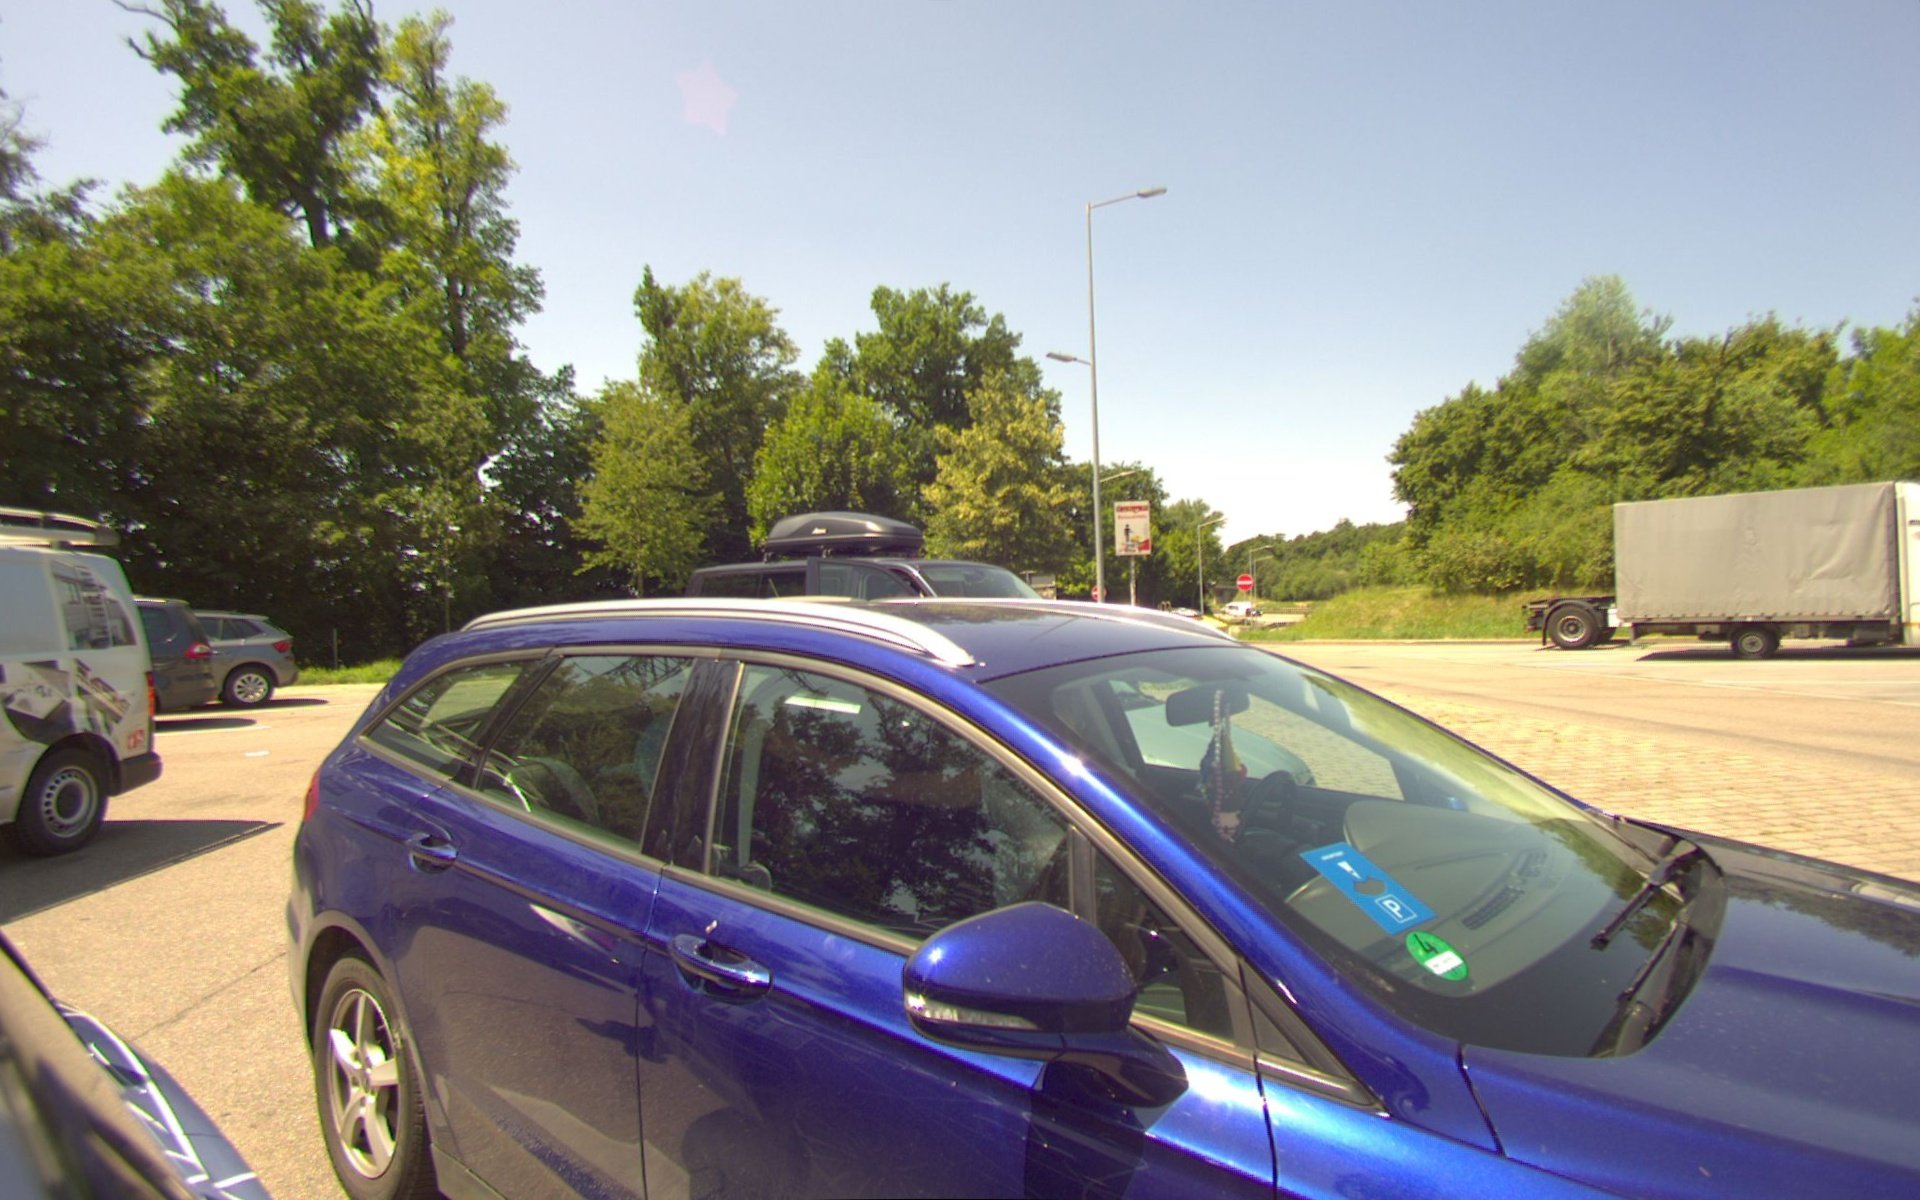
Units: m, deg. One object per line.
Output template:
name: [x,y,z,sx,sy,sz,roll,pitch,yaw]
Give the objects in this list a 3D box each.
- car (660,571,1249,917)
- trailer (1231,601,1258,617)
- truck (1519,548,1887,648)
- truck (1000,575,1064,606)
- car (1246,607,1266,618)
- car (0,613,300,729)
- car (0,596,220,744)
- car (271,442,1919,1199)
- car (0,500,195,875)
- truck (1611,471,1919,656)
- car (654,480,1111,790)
car: [-0.186,0.607,5.542,3.112,1.370,1.326,-2,-1,41]
trailer: [50.584,1.636,180.261,2.522,2.744,5.945,-1,0,-7]
truck: [16.910,0.059,23.465,6.613,2.029,1.973,-2,-1,41]
truck: [3.472,-0.445,48.796,2.866,1.386,1.158,-2,-1,22]
car: [51.225,2.143,175.312,1.855,1.691,4.006,-1,0,-7]
car: [-12.487,1.001,15.705,3.535,1.513,1.708,-1,0,-42]
car: [-11.613,0.833,12.479,1.755,1.701,3.798,-2,-1,45]
car: [0.276,0.642,2.054,4.411,1.429,1.721,-2,-1,41]
car: [-6.246,0.478,4.588,1.816,2.121,5.440,0,-1,-5]
truck: [16.609,-0.612,18.827,7.253,3.175,2.148,-2,-1,41]
car: [-0.835,0.327,9.548,4.076,2.336,1.767,-2,-1,35]
